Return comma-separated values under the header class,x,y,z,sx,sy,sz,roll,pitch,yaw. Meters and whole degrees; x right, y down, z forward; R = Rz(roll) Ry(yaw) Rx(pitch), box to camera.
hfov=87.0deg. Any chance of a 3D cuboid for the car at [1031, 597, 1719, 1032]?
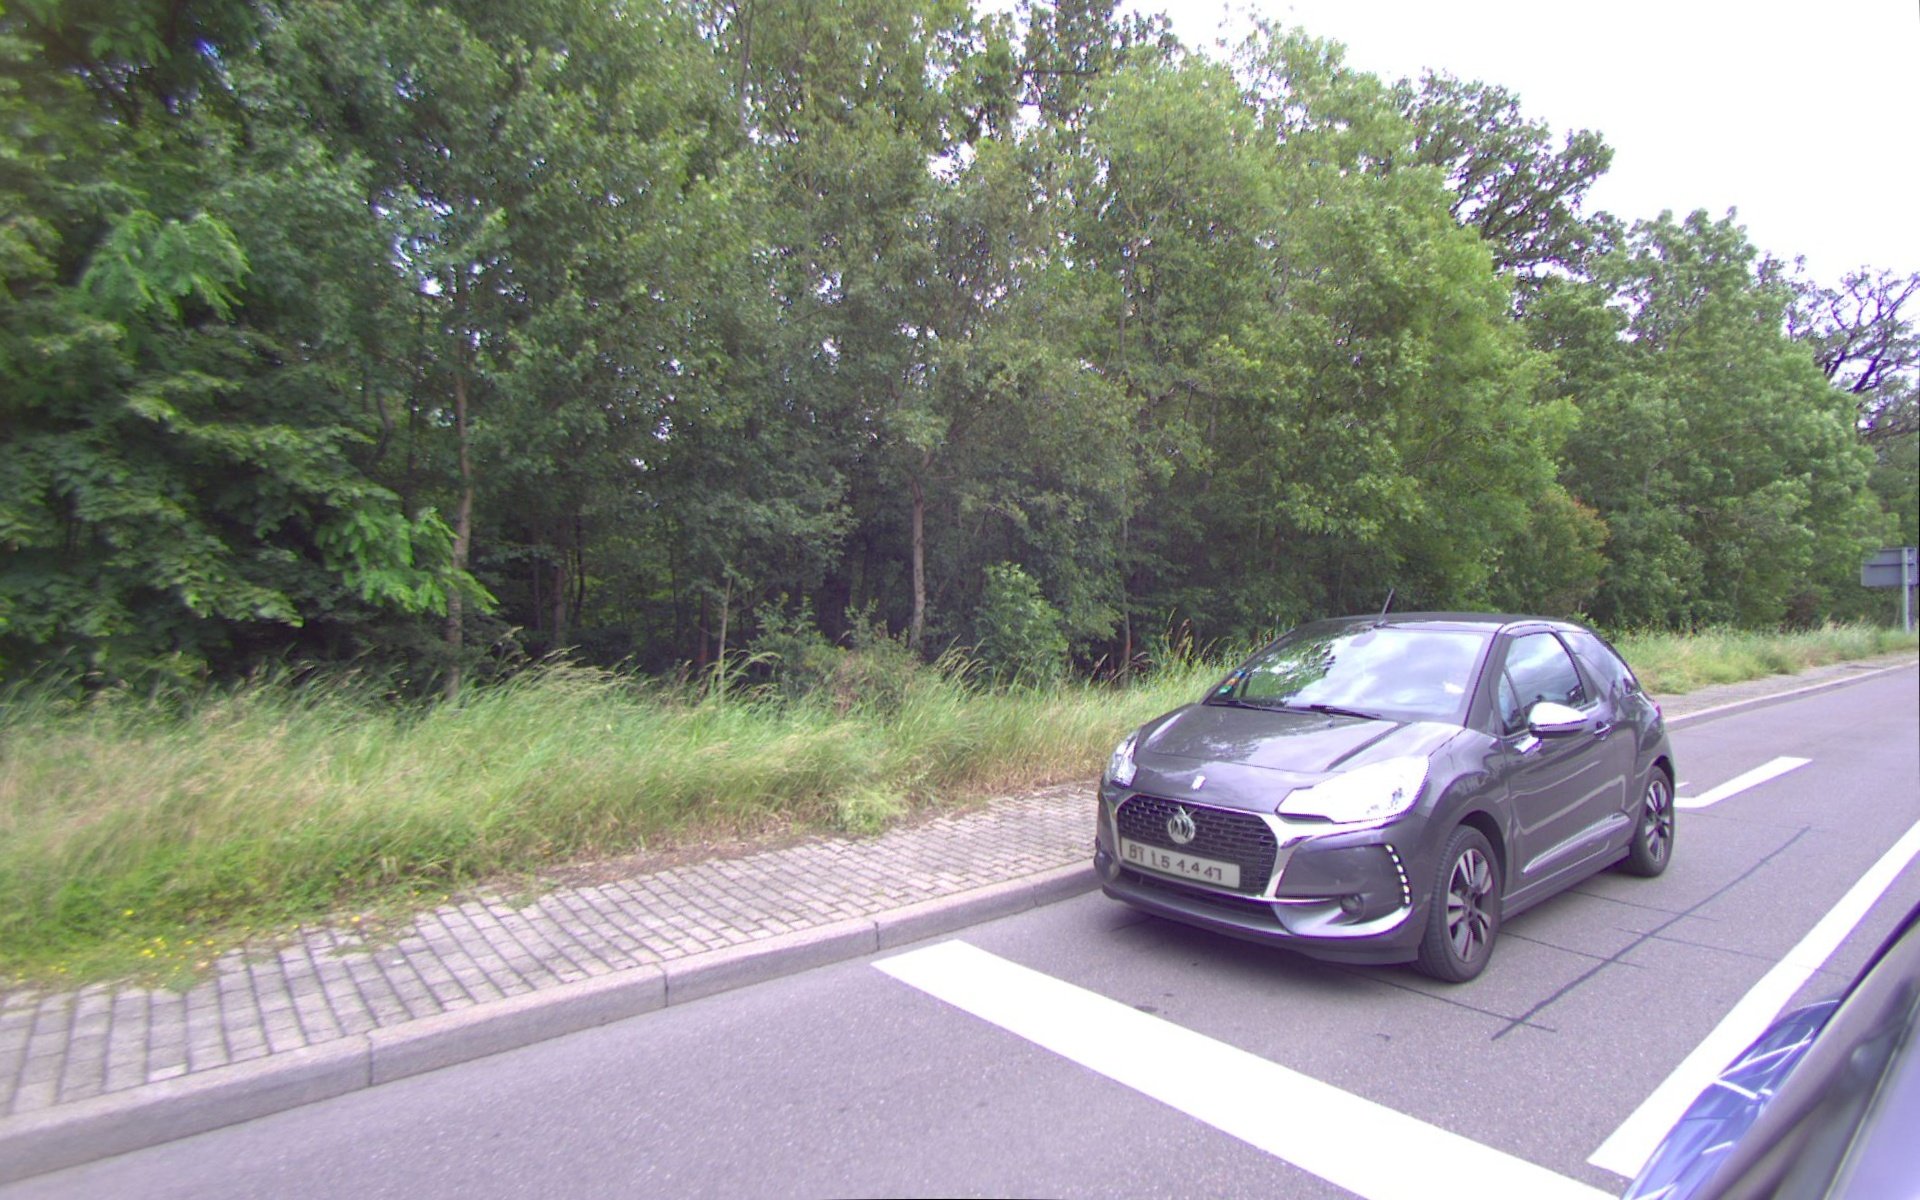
class,x,y,z,sx,sy,sz,roll,pitch,yaw
car,2.348,0.730,5.319,3.785,1.476,1.730,0,0,-39
